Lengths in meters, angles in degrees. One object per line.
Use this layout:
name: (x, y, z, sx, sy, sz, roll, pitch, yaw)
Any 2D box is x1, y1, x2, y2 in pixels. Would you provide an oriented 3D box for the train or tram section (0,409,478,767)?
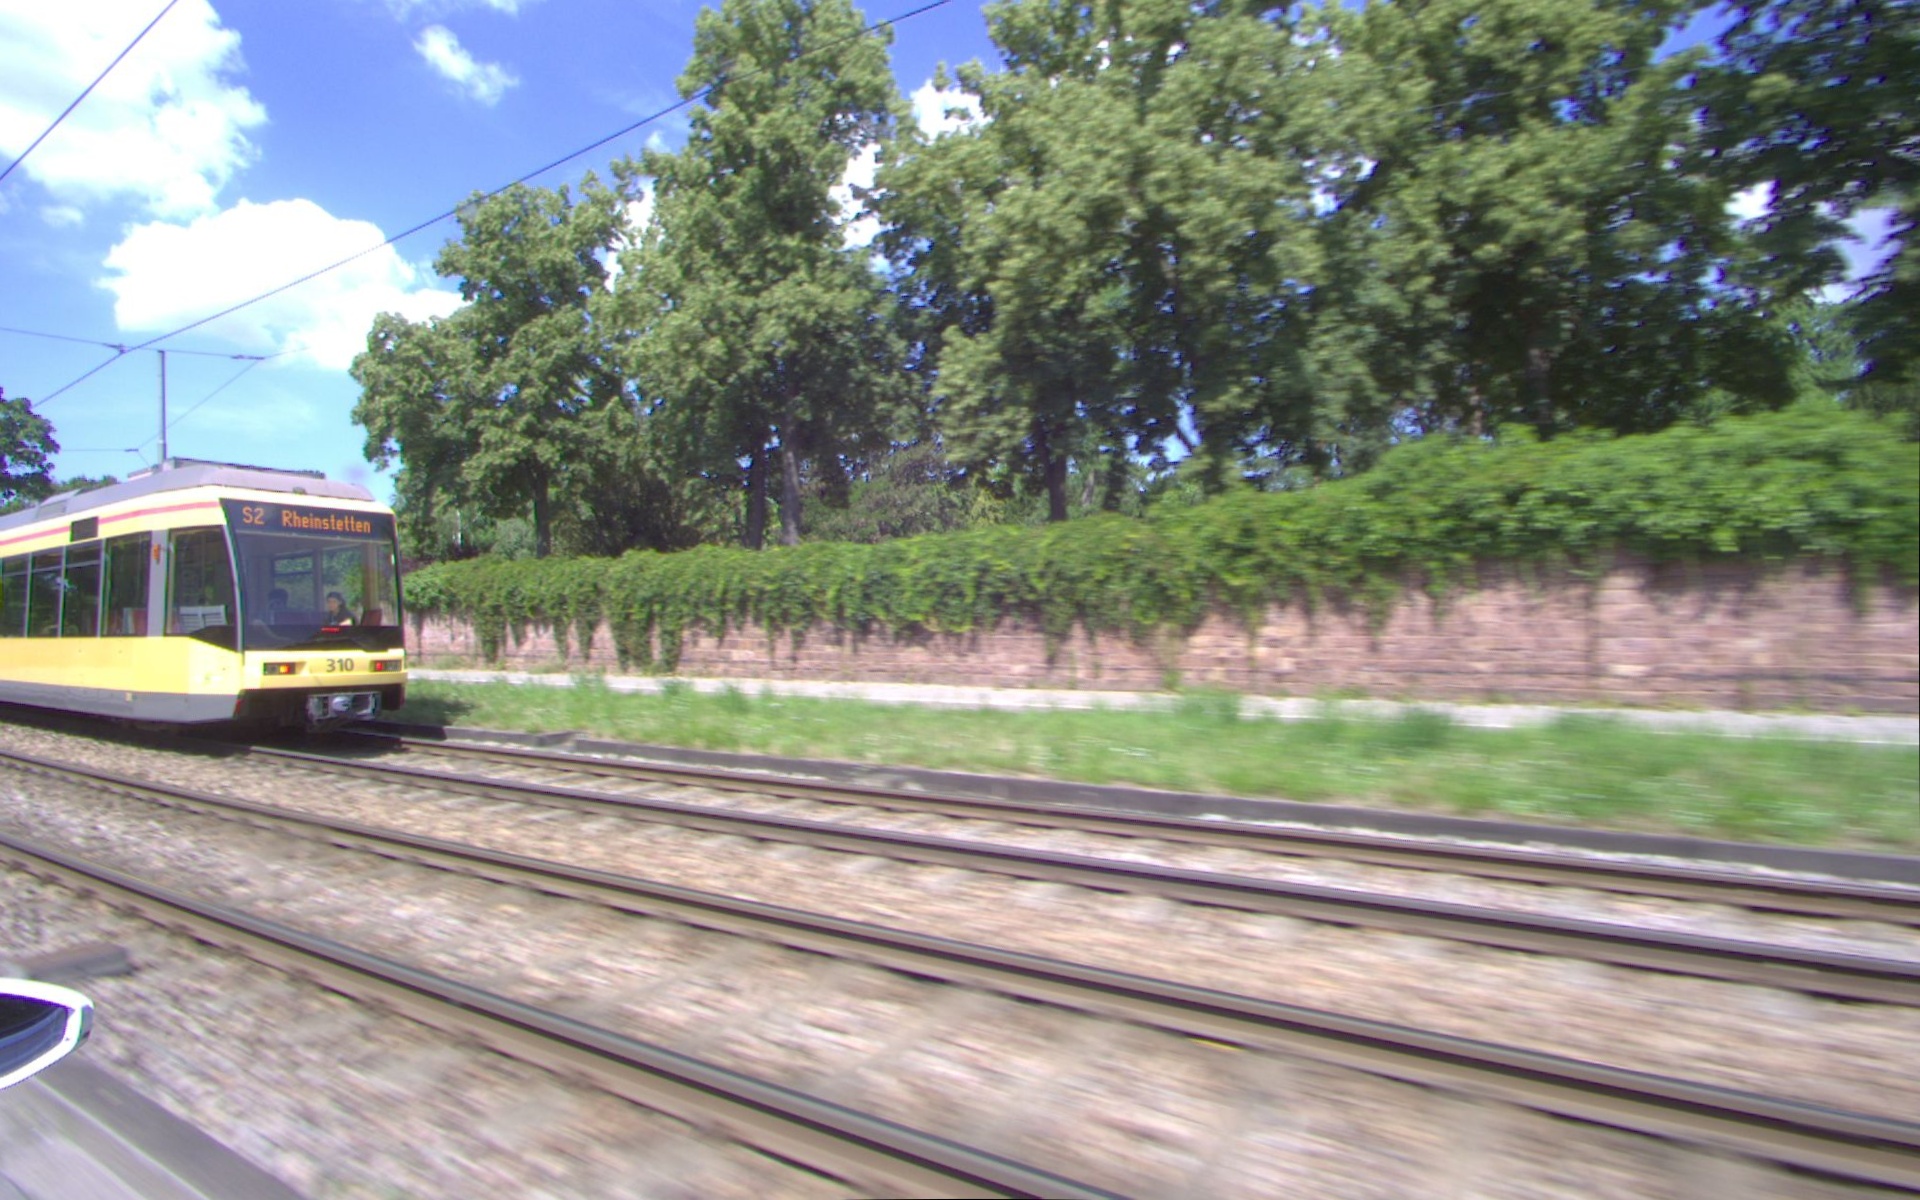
train or tram section: (-14.403, 0.062, 16.976, 18.146, 3.739, 2.935, -1, -2, 36)

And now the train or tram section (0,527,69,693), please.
train or tram section: (-29.759, 0.396, 28.266, 20.022, 3.739, 2.934, -1, -2, 37)
